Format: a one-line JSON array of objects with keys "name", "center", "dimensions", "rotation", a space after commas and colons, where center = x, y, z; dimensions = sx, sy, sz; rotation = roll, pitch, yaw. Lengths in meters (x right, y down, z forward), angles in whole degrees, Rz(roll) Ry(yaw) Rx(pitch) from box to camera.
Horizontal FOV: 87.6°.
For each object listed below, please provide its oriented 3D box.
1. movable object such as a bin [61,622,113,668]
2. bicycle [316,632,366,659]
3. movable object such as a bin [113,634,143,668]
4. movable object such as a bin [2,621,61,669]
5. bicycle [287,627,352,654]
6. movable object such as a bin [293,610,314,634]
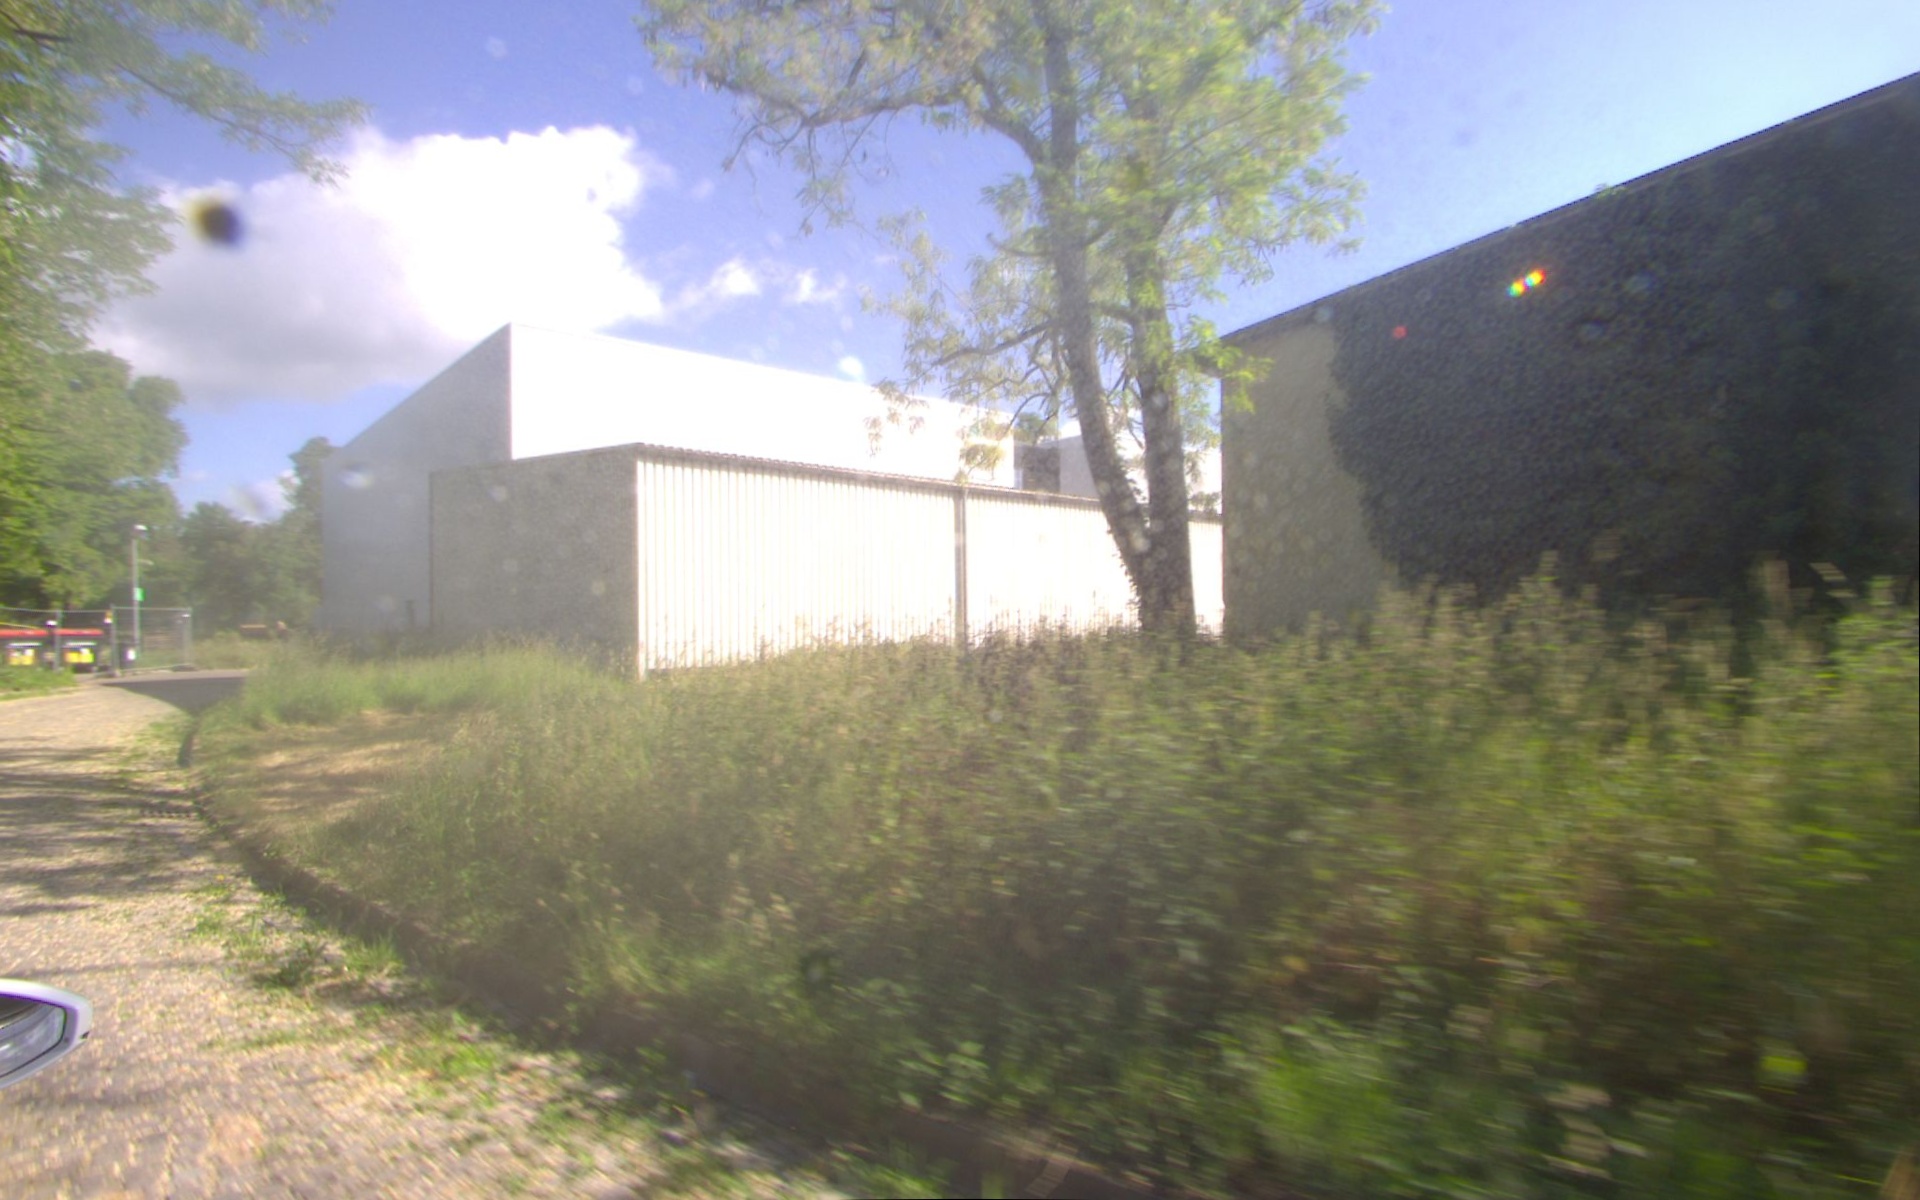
[{"name": "movable object such as a bin", "center": [-28.829, 1.466, 33.056], "dimensions": [0.695, 1.463, 1.238], "rotation": [-1, -1, 43]}, {"name": "bicycle", "center": [-26.215, 1.922, 42.426], "dimensions": [1.778, 1.096, 0.520], "rotation": [1, -1, -40]}, {"name": "movable object such as a bin", "center": [-27.957, 1.702, 33.648], "dimensions": [0.730, 1.112, 0.813], "rotation": [0, -1, -37]}, {"name": "movable object such as a bin", "center": [-29.800, 1.420, 32.147], "dimensions": [0.798, 1.503, 1.330], "rotation": [-1, -1, 42]}, {"name": "bicycle", "center": [-31.224, 1.971, 48.815], "dimensions": [2.607, 1.282, 1.132], "rotation": [1, -1, -37]}, {"name": "movable object such as a bin", "center": [-56.843, 1.929, 86.709], "dimensions": [1.406, 2.040, 1.117], "rotation": [0, -1, -37]}]
